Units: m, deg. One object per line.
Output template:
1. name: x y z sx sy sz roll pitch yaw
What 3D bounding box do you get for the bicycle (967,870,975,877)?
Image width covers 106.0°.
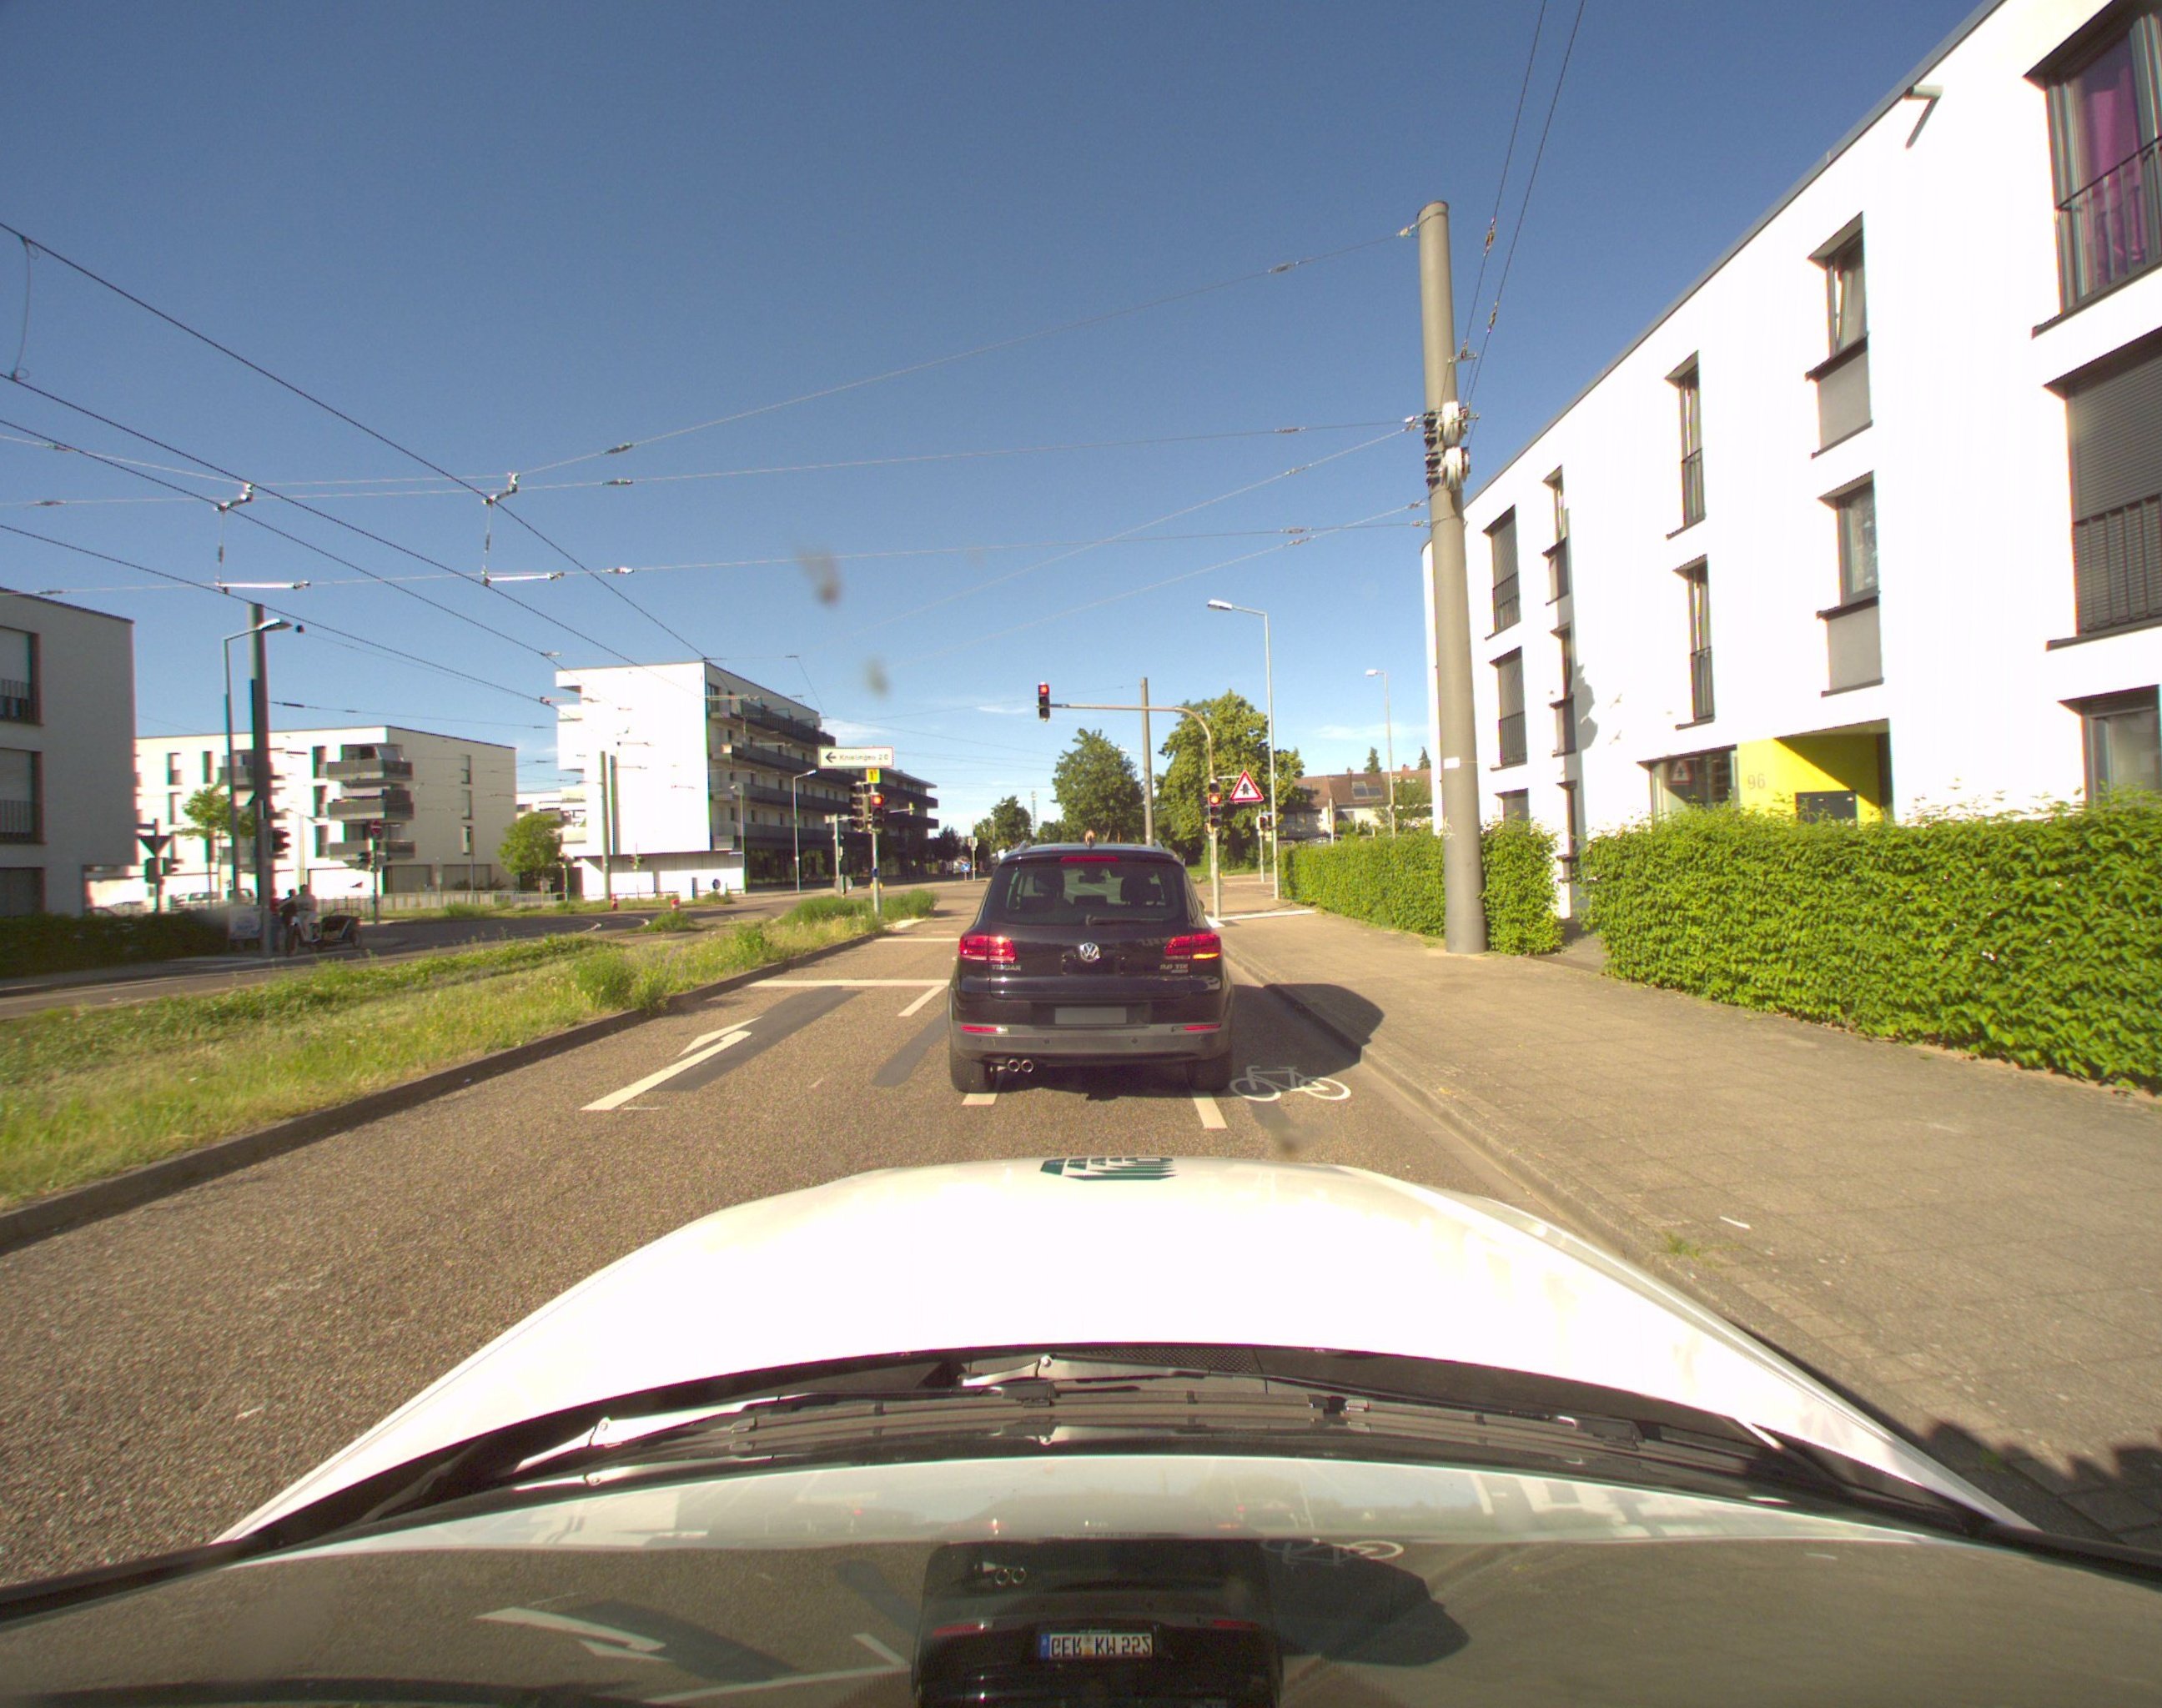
1. bicycle: -13.270 2.352 98.429 0.493 0.848 2.082 -1 0 6

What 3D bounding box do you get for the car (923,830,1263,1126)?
1. car: 0.089 0.704 6.620 1.899 1.643 4.000 -1 0 0

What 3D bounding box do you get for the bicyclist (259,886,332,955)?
1. bicyclist: -19.713 1.656 20.461 0.974 1.630 0.909 -1 0 -12

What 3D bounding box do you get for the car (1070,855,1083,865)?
1. car: -0.587 0.788 117.257 1.745 1.387 4.000 -1 0 0

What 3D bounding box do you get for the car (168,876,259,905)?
1. car: -58.711 2.434 55.168 3.974 1.838 2.000 -1 0 0

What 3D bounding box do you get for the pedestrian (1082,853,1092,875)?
1. pedestrian: 0.427 0.715 59.147 0.600 1.565 0.530 -1 0 6

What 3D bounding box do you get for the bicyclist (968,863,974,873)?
1. bicyclist: -13.284 1.716 98.403 0.472 1.223 0.713 -1 0 5

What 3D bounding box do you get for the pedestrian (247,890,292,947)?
1. pedestrian: -21.674 1.703 21.757 0.558 1.464 0.738 -1 0 -18

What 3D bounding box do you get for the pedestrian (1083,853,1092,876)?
1. pedestrian: 0.488 0.770 59.674 0.600 1.640 0.530 -1 0 6

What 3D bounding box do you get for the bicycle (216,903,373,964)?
1. bicycle: -19.744 1.939 20.636 0.996 1.174 3.681 1 0 -11

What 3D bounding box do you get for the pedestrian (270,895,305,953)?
1. pedestrian: -21.090 1.853 21.646 0.561 1.464 0.605 -1 0 -36
